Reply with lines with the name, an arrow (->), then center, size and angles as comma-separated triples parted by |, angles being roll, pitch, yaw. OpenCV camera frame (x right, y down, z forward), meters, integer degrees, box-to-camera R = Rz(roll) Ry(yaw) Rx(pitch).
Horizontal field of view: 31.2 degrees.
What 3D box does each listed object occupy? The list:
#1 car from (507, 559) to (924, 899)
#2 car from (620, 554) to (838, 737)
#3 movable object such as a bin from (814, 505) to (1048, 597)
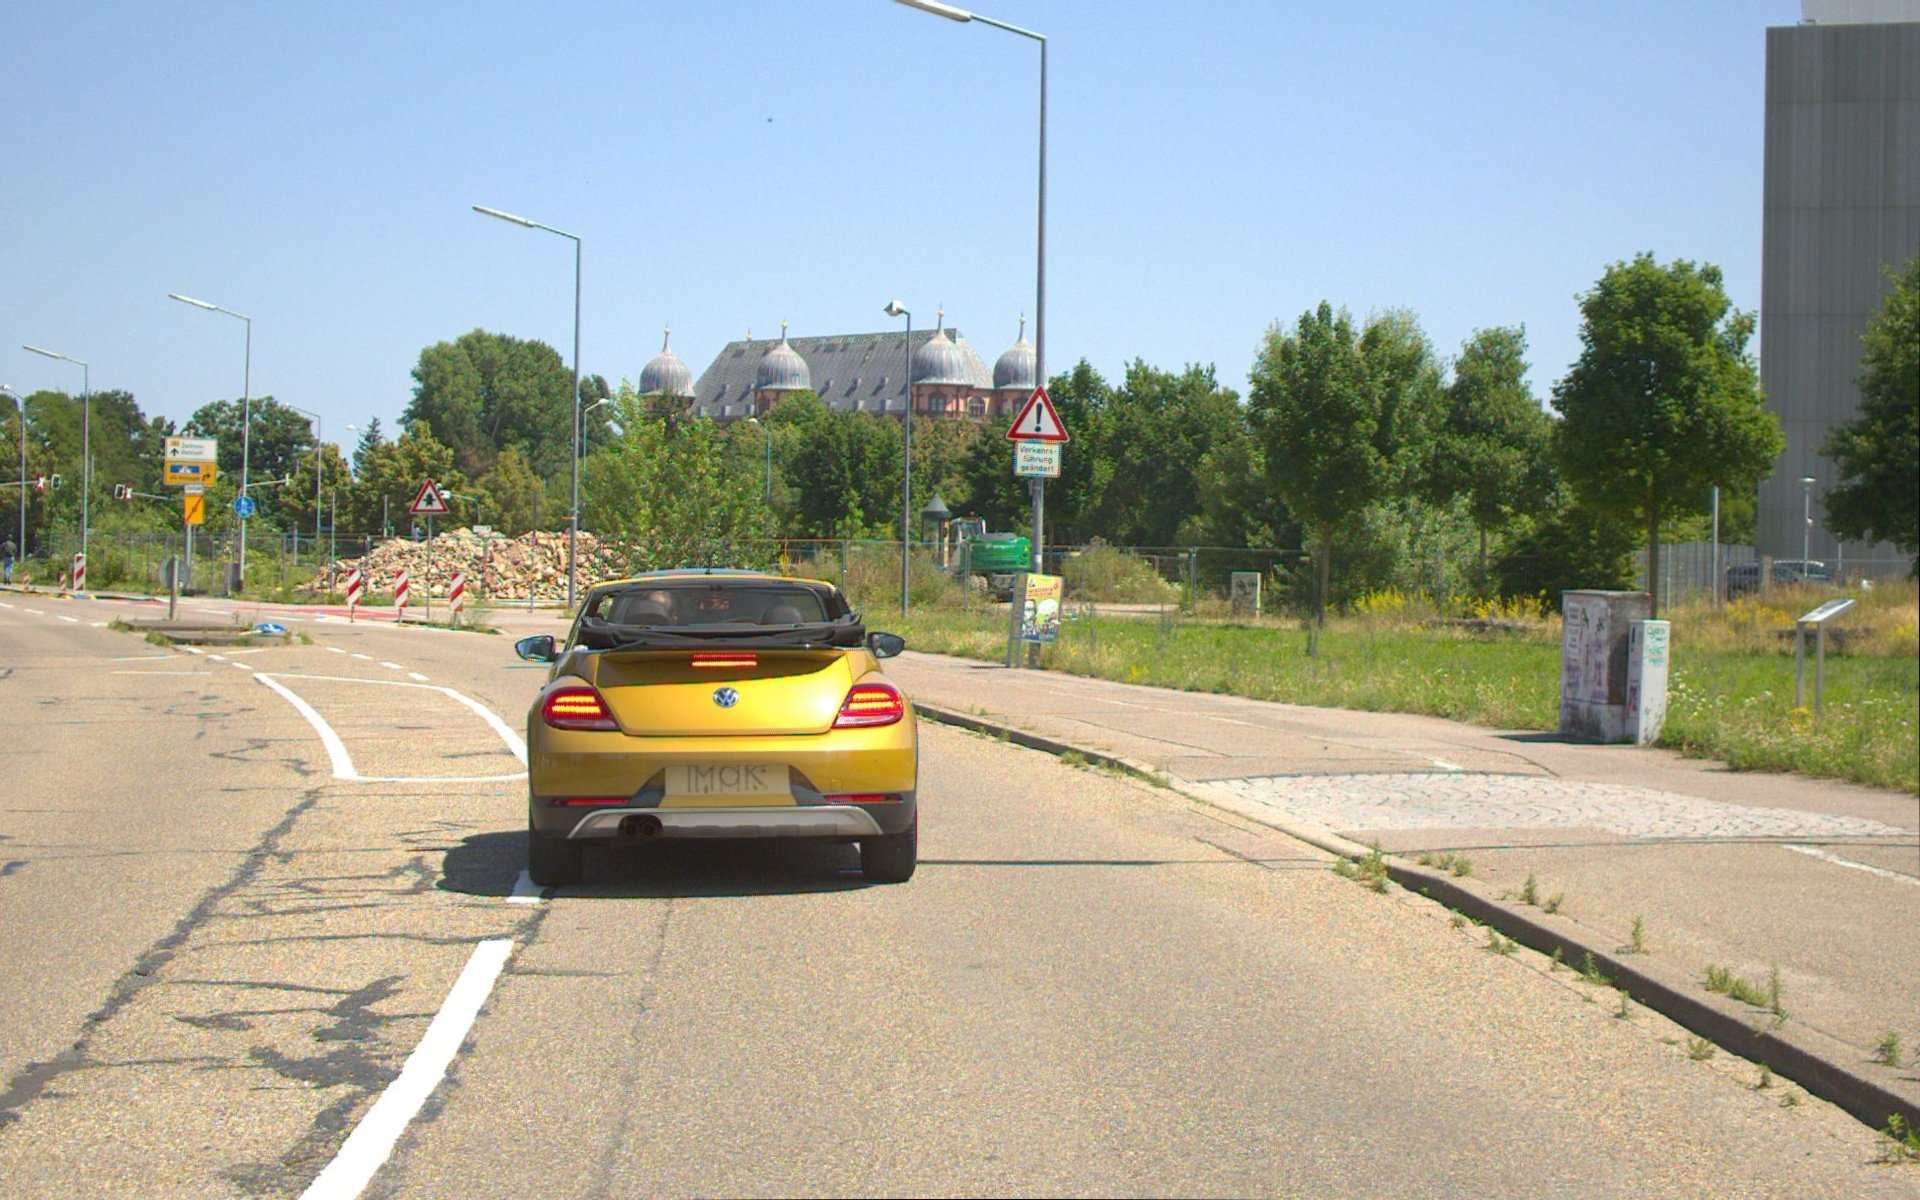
car -> -1.222, 0.543, 16.880 | 1.790, 1.432, 3.814 | 1, 1, -5
car -> -2.007, 0.341, 29.522 | 1.726, 1.438, 4.001 | 1, 1, -5
movable object such as a bin -> -1.206, -1.841, 129.826 | 4.938, 3.249, 10.471 | 1, 1, -25
